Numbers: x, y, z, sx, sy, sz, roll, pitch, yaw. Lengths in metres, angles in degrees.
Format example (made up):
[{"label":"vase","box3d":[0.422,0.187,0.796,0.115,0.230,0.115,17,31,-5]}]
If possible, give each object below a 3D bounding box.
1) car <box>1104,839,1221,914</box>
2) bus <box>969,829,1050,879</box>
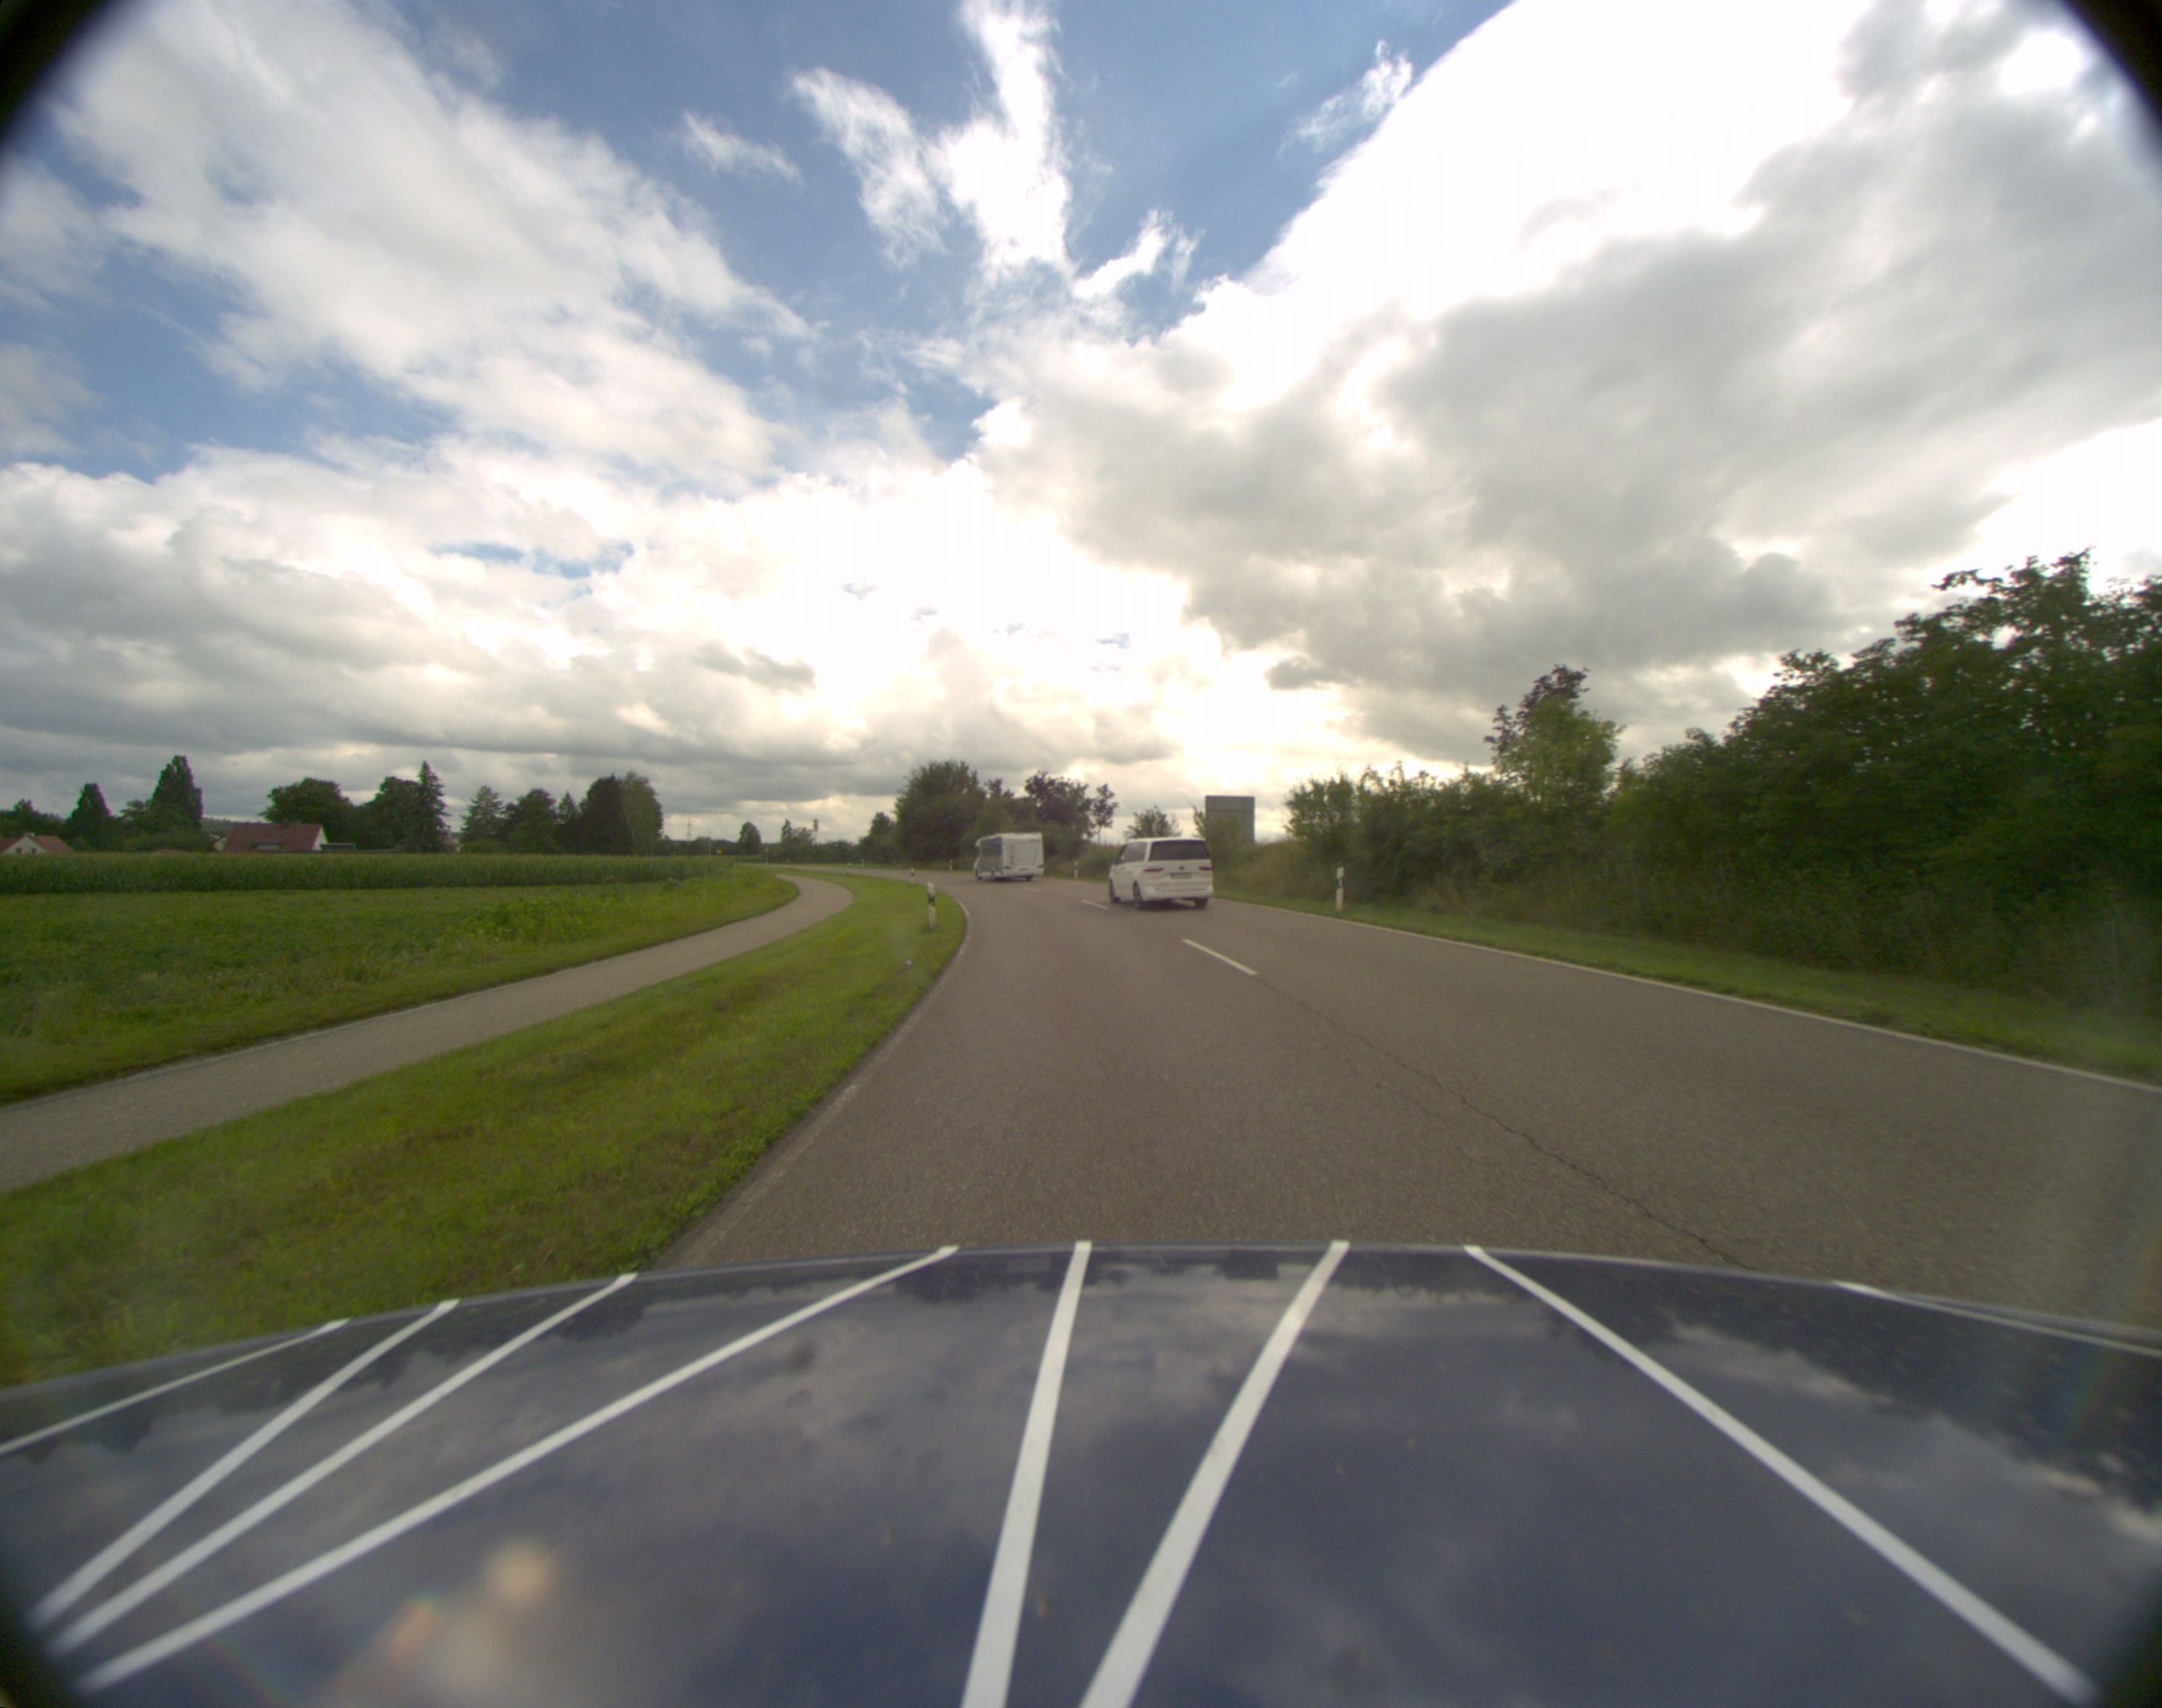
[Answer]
[{"label":"car","box3d":[2.171,0.549,21.912,2.120,1.858,5.182,-1,1,-8]},{"label":"bus","box3d":[-4.489,-0.028,45.881,2.486,2.695,8.414,-1,1,-22]}]
